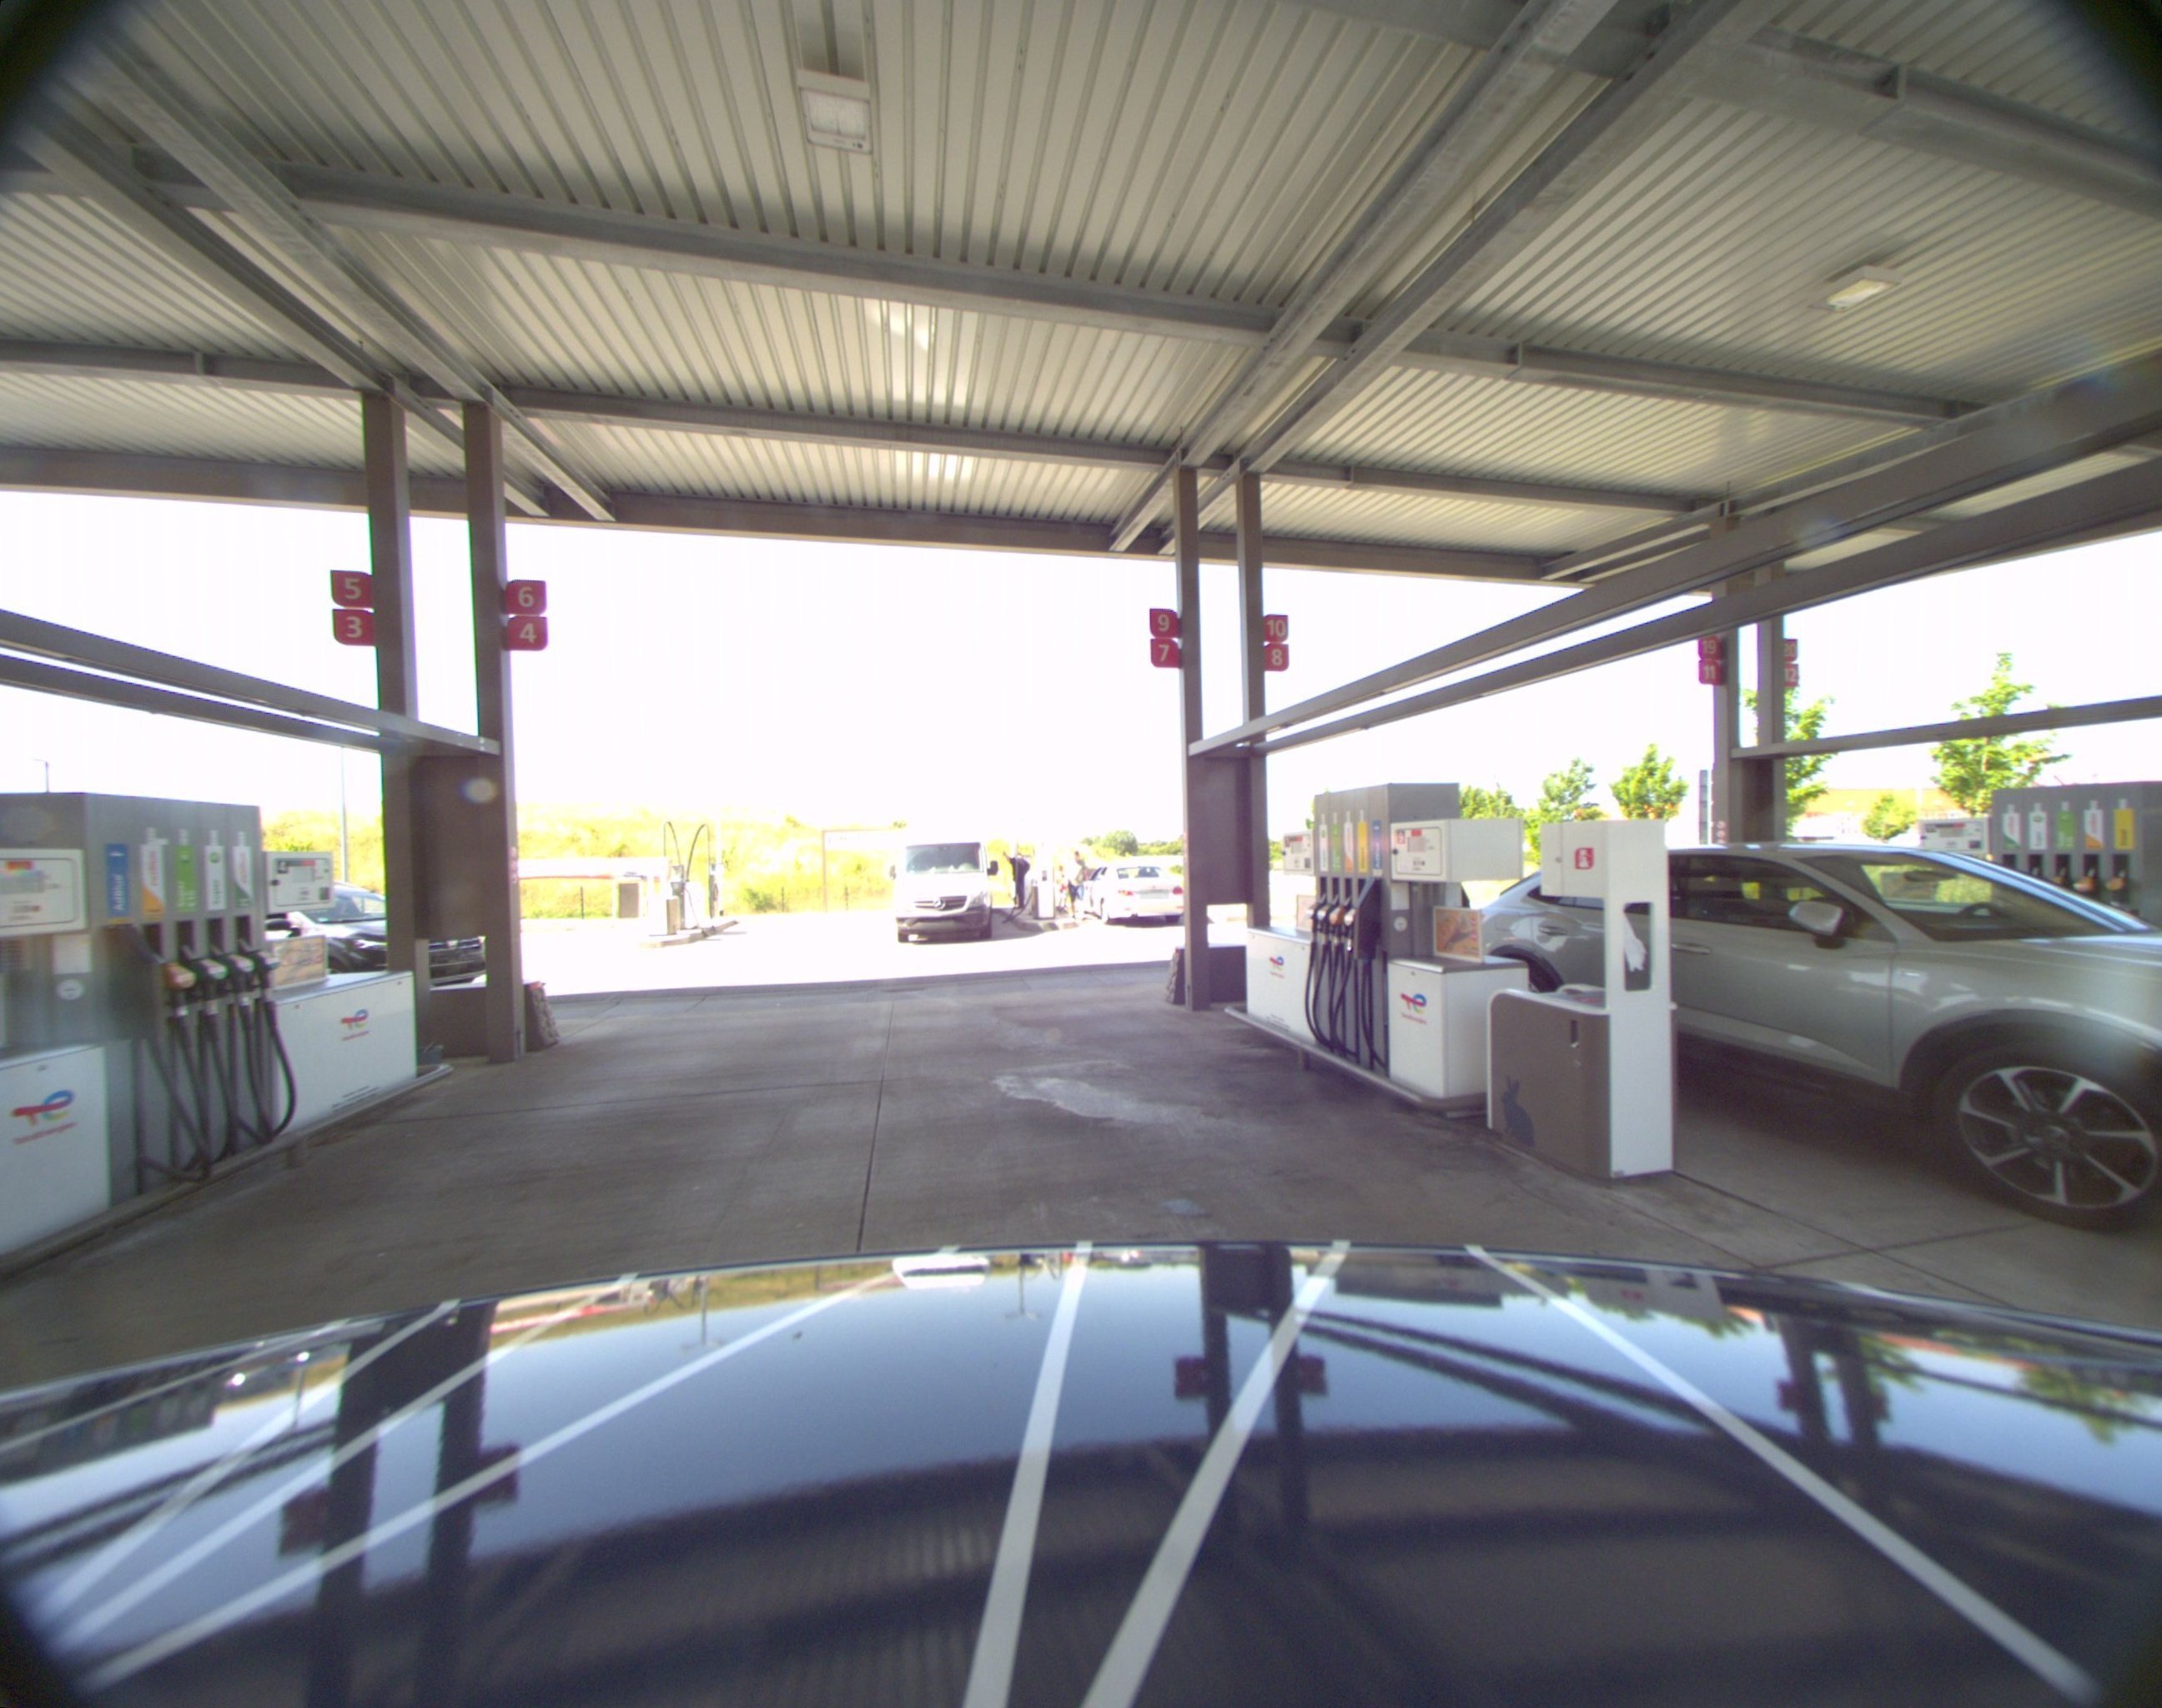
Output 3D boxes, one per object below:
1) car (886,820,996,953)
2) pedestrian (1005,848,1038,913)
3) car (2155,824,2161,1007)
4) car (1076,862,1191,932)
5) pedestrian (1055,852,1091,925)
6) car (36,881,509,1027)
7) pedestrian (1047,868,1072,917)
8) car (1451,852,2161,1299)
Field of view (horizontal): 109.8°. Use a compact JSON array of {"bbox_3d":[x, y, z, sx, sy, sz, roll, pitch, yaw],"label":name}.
[{"bbox_3d":[-3.118,0.522,18.355,1.999,2.557,7.025,-1,2,-6],"label":"car"},{"bbox_3d":[-1.655,0.717,21.063,0.710,1.759,0.844,-2,0,-16],"label":"pedestrian"},{"bbox_3d":[11.386,0.509,5.051,1.867,1.677,4.530,-2,0,-16],"label":"car"},{"bbox_3d":[1.177,0.986,19.090,1.793,1.420,4.317,-1,1,-11],"label":"car"},{"bbox_3d":[-0.202,0.837,18.874,0.709,1.739,0.844,-2,0,-10],"label":"pedestrian"},{"bbox_3d":[-10.489,1.258,10.059,4.627,1.635,1.744,-1,0,5],"label":"car"},{"bbox_3d":[-0.594,1.047,21.005,0.578,1.299,0.668,-2,0,-10],"label":"pedestrian"},{"bbox_3d":[4.346,0.787,4.258,1.786,1.532,4.321,-2,0,-12],"label":"car"}]
